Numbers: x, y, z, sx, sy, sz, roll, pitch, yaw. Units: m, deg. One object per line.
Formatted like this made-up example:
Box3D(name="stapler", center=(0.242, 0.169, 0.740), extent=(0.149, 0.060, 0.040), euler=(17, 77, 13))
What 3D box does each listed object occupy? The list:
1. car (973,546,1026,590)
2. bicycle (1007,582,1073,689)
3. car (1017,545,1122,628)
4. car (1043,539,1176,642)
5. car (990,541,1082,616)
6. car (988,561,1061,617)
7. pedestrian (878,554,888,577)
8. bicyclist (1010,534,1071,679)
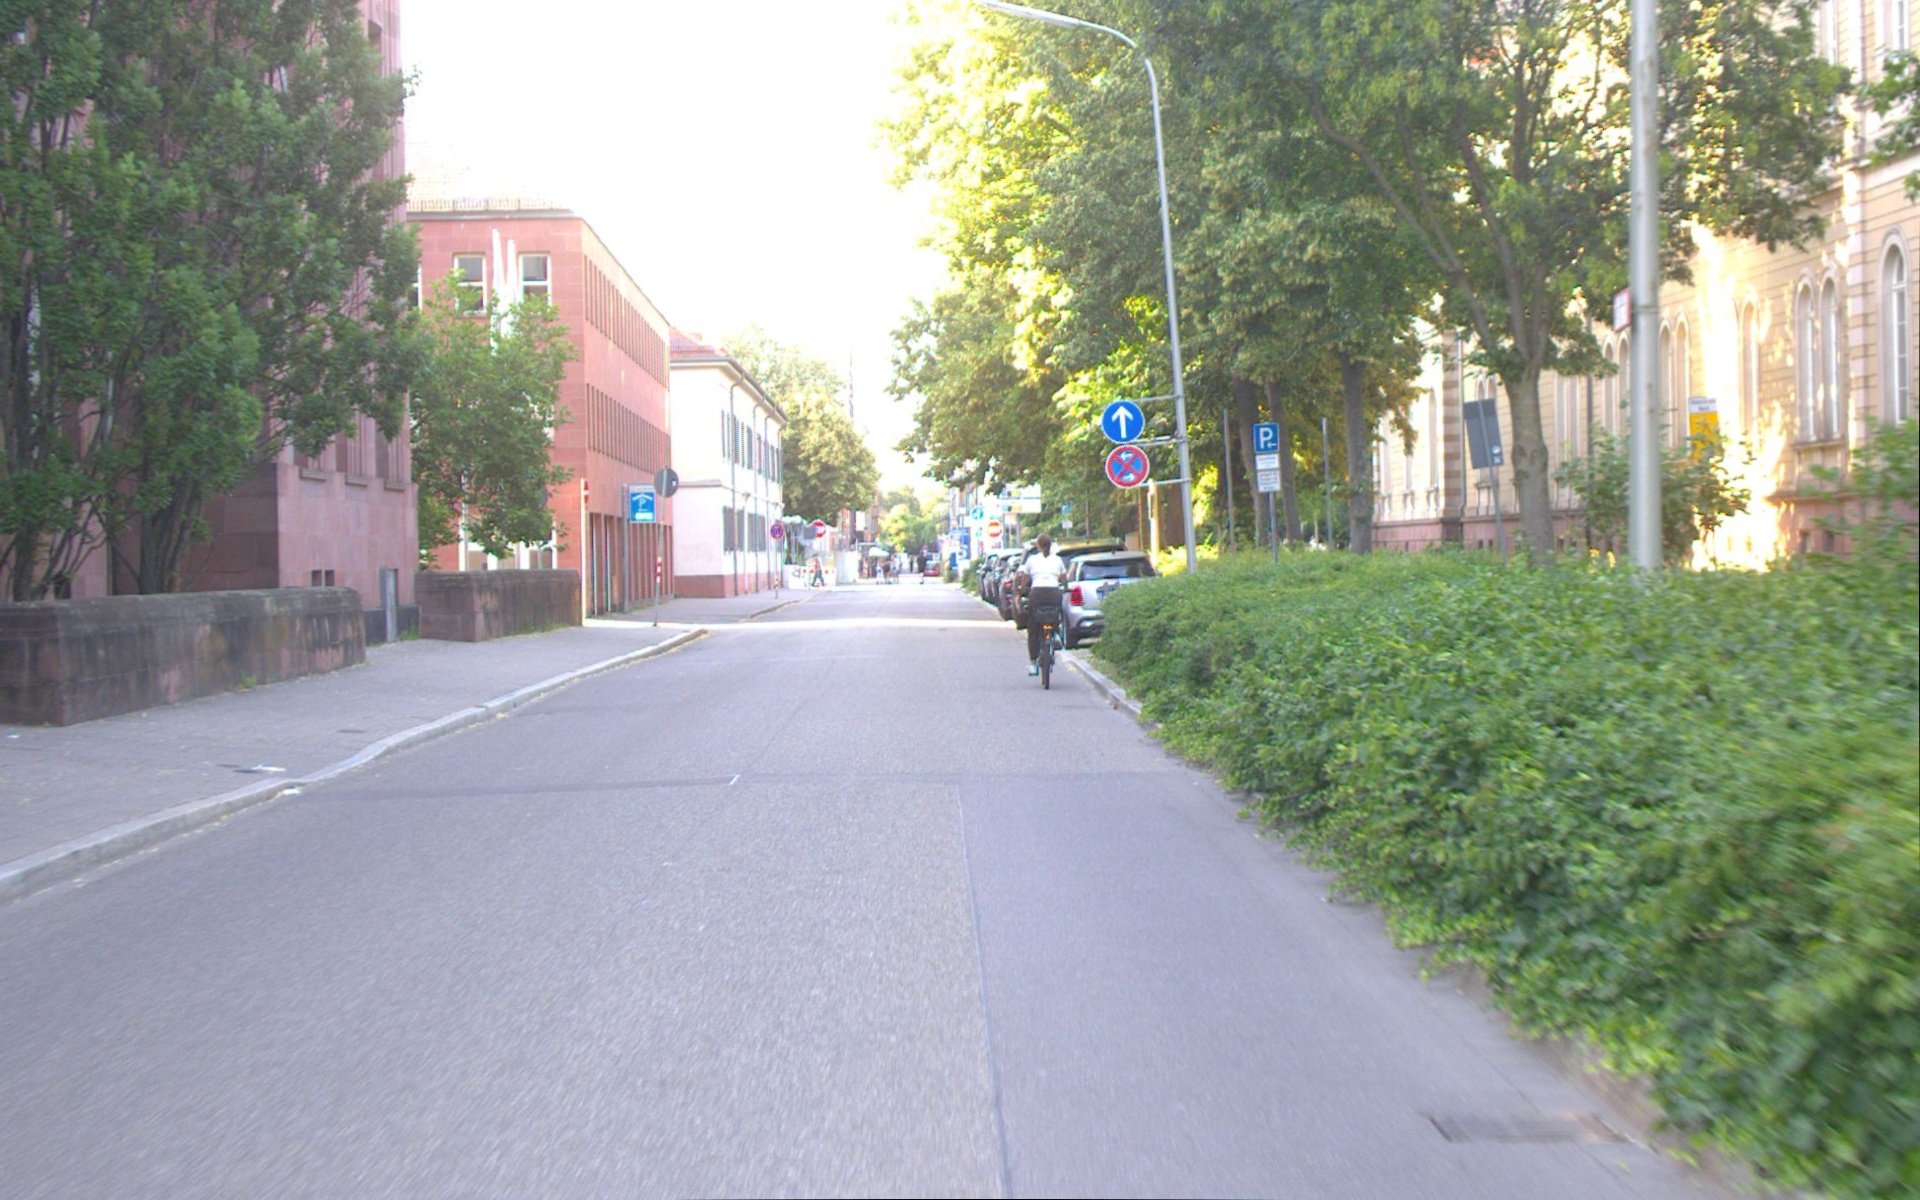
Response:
Box3D(name="car", center=(1.618, -1.342, 141.490), extent=(1.993, 1.743, 4.000), euler=(-2, 1, -2))
Box3D(name="bicycle", center=(0.925, 0.400, 39.996), extent=(0.638, 1.189, 1.876), euler=(1, 1, -2))
Box3D(name="car", center=(2.102, -0.283, 66.966), extent=(1.715, 1.532, 4.049), euler=(-2, 1, -2))
Box3D(name="car", center=(2.288, -0.145, 53.296), extent=(1.685, 1.442, 3.672), euler=(-3, 0, -2))
Box3D(name="car", center=(1.805, -0.542, 82.985), extent=(1.993, 1.700, 4.000), euler=(-2, 1, -2))
Box3D(name="car", center=(1.924, -0.356, 103.968), extent=(1.993, 1.579, 4.000), euler=(-2, 1, -2))
Box3D(name="pedestrian", center=(-4.855, -2.170, 216.812), extent=(0.534, 1.467, 0.449), euler=(-2, 1, -2))
Box3D(name="bicyclist", center=(0.931, 0.073, 39.940), extent=(0.639, 1.661, 0.843), euler=(1, 1, -2))
